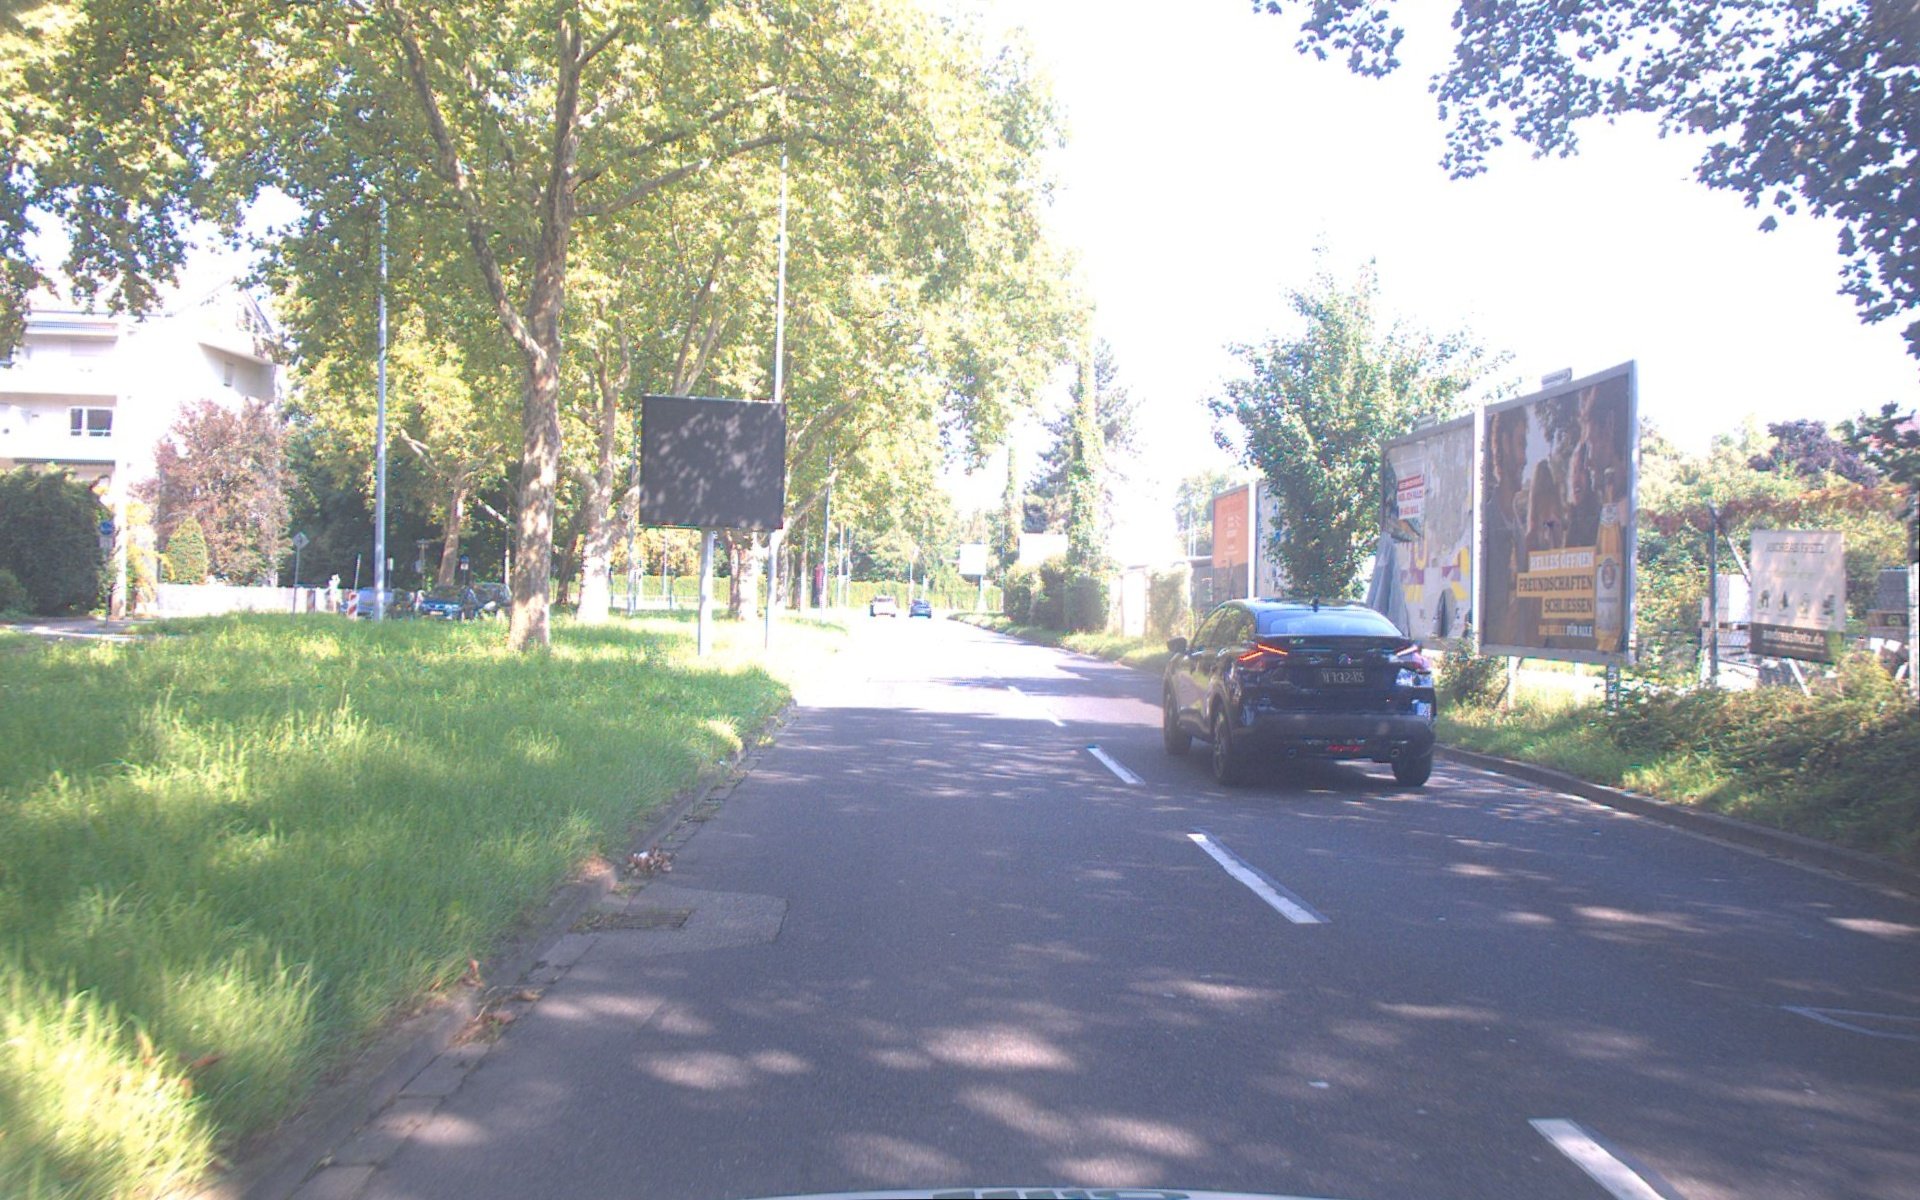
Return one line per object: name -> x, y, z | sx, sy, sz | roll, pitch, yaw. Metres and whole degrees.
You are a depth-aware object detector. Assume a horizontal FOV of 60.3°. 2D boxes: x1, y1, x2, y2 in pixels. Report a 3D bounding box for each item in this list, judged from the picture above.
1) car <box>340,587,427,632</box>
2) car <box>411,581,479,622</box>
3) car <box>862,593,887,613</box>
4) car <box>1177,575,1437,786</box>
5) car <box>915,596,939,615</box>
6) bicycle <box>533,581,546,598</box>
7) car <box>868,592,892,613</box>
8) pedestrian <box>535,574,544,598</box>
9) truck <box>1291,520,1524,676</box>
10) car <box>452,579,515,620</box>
car -> -20.815, 0.320, 59.891 | 1.665, 1.534, 4.538 | 1, 0, -2
car -> -21.455, 0.070, 69.037 | 1.665, 1.595, 3.998 | 1, 0, -2
car -> -6.804, 0.248, 131.738 | 1.652, 1.487, 3.850 | 2, 0, 1
car -> 2.972, 0.638, 14.964 | 1.611, 1.616, 4.256 | 1, 0, 2
car -> -2.682, 0.420, 132.503 | 1.762, 1.425, 3.997 | 2, 0, -3
bicycle -> -31.050, -0.756, 122.157 | 0.534, 1.220, 2.757 | 2, 0, -6
car -> -5.984, 0.206, 123.708 | 1.653, 1.487, 3.998 | 2, 0, -2
pedestrian -> -31.028, -1.016, 122.084 | 0.532, 1.720, 0.657 | 2, -1, -6
truck -> 7.368, -0.009, 28.119 | 1.876, 2.272, 6.910 | 2, 0, -1
car -> -22.060, -0.011, 76.727 | 1.665, 1.762, 4.657 | 2, 0, -2
